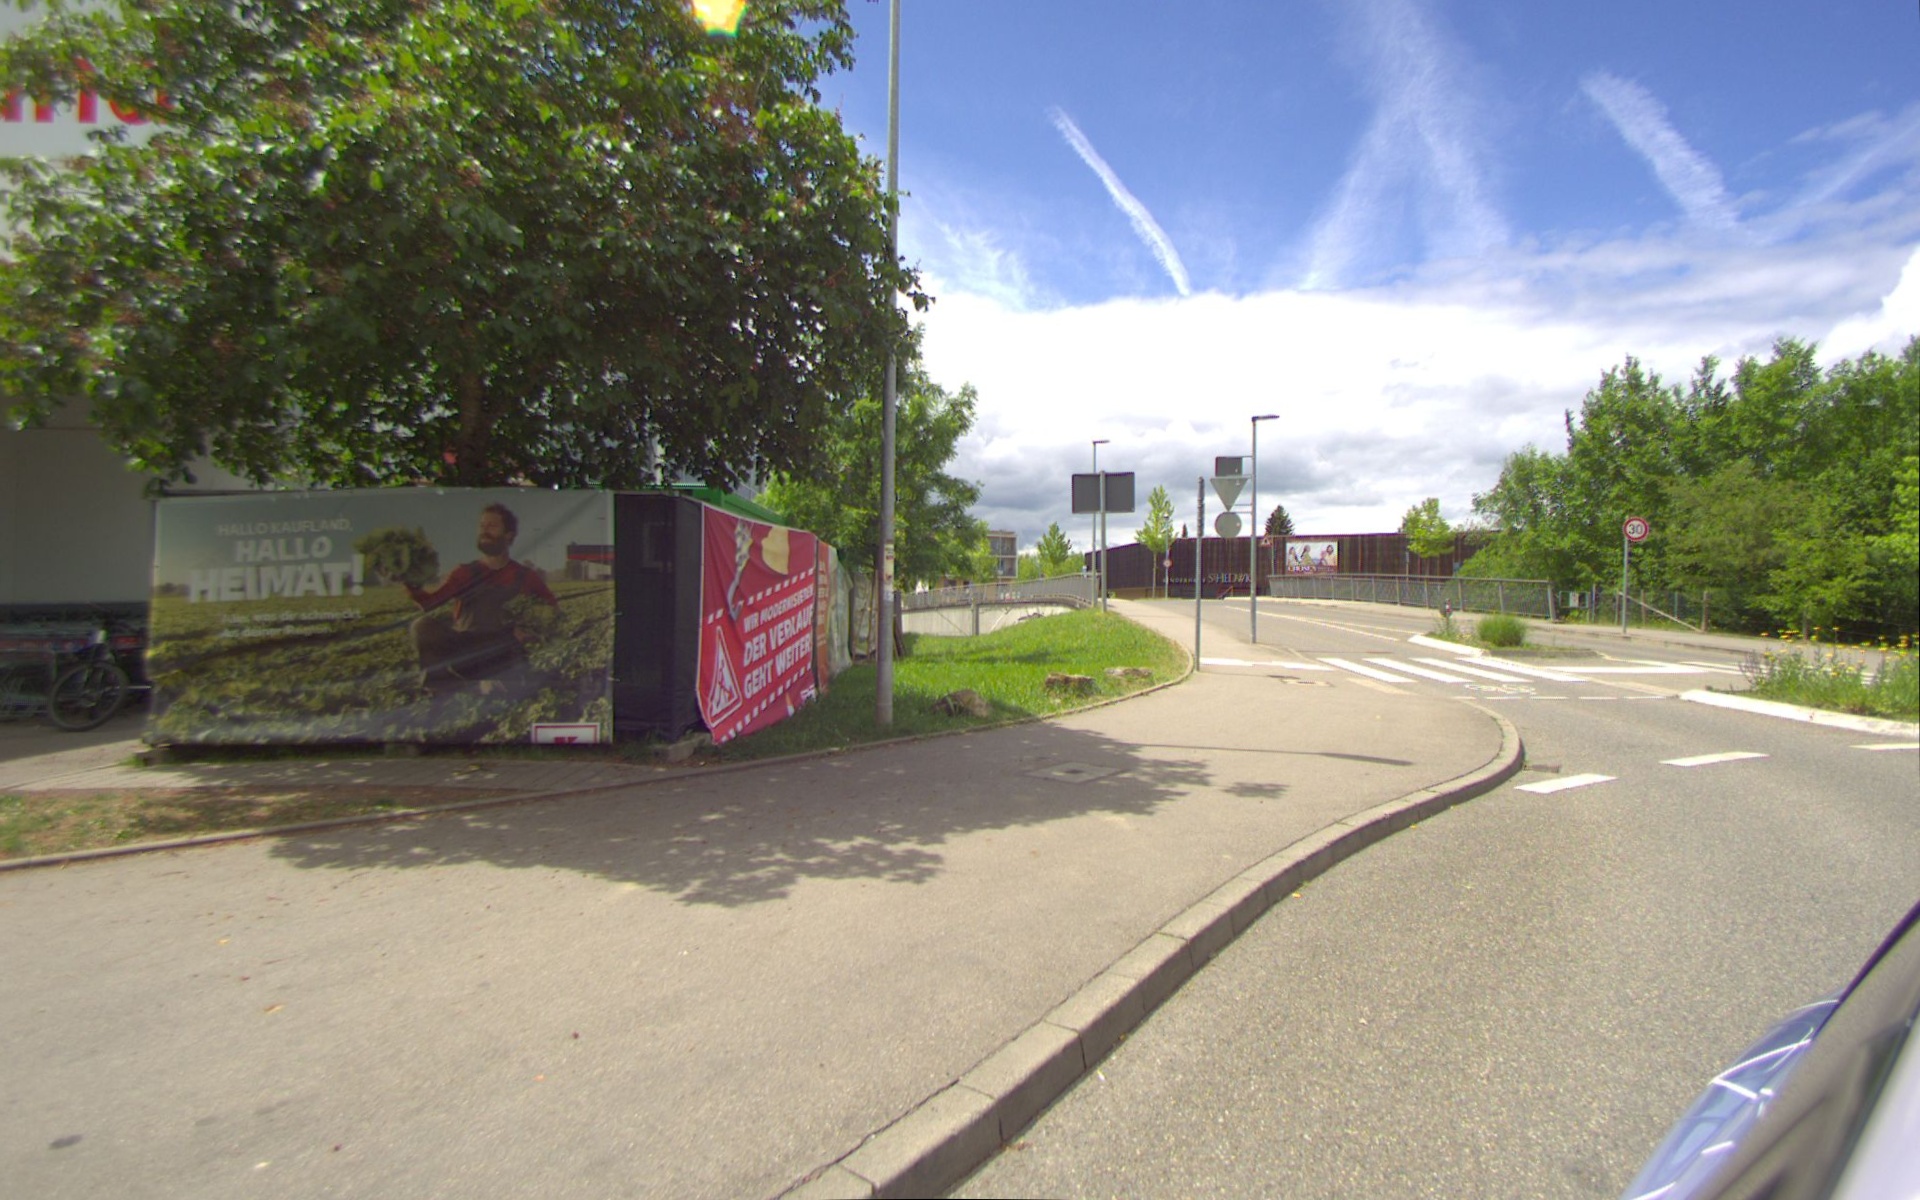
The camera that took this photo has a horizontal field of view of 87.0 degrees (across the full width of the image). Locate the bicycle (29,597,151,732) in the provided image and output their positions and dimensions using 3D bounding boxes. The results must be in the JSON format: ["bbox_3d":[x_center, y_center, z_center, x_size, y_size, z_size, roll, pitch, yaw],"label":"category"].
[{"bbox_3d":[-8.835,0.612,10.345,0.701,1.250,1.773,0,-1,-33],"label":"bicycle"}]
